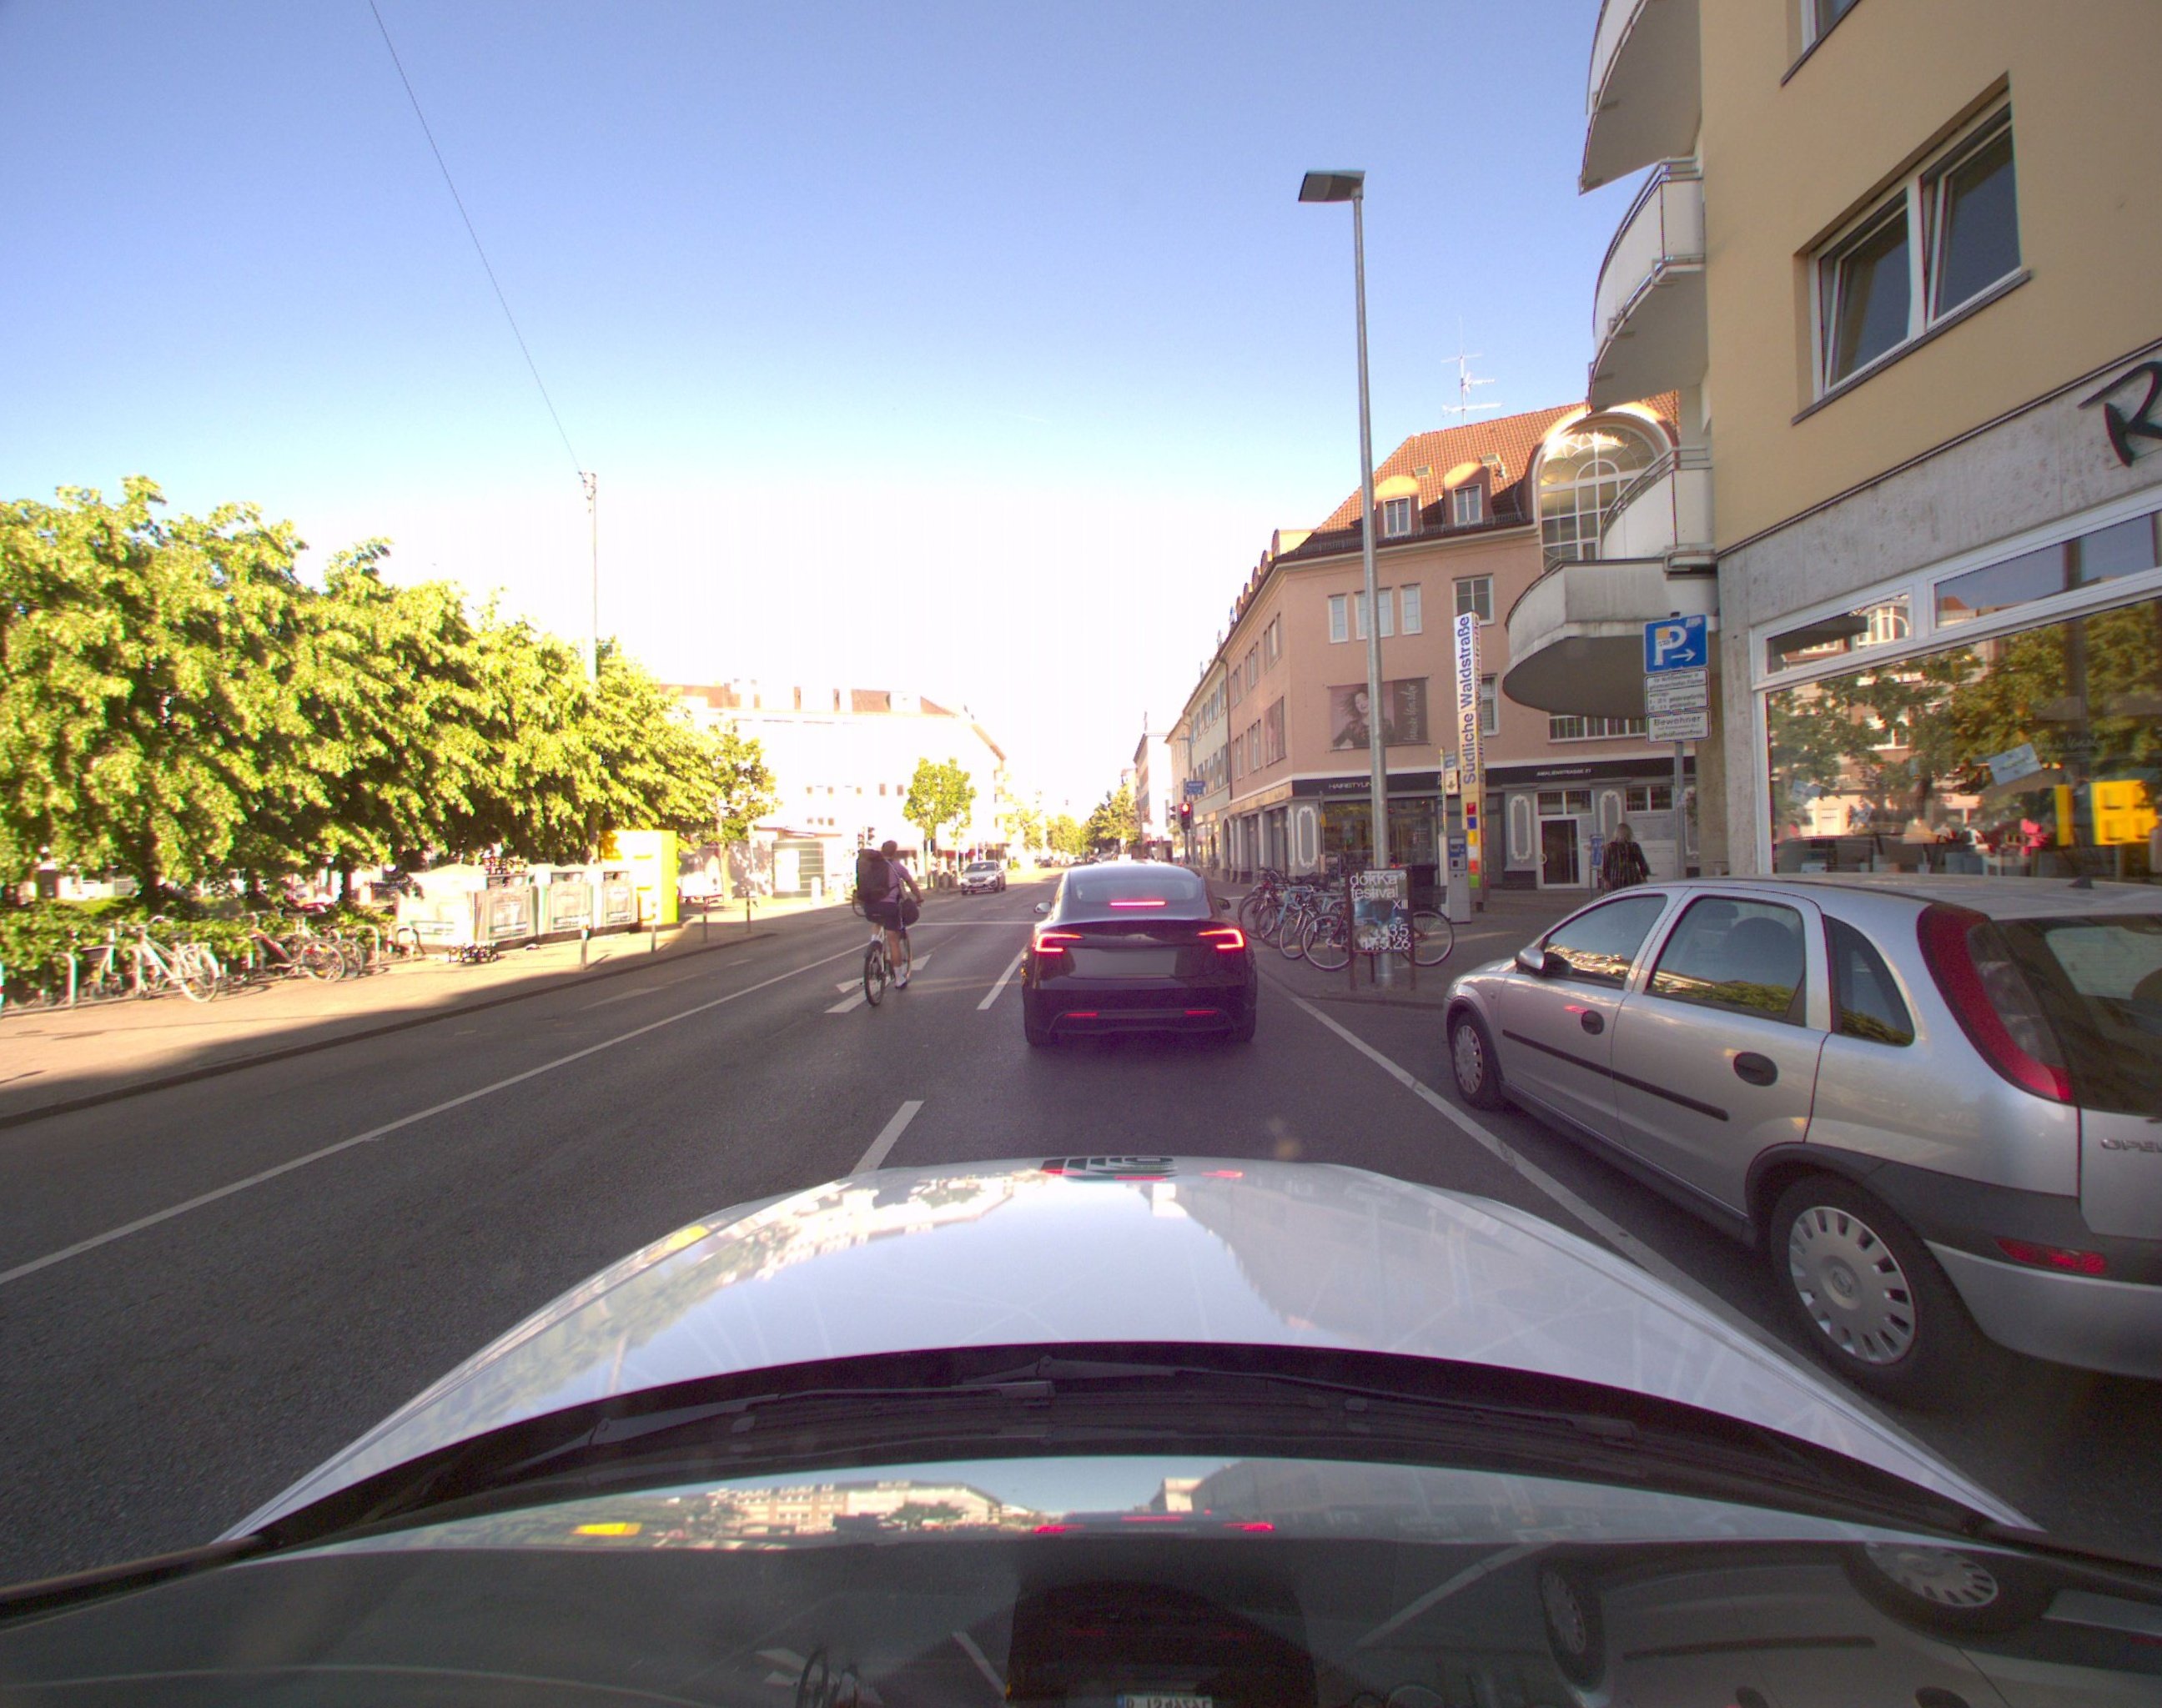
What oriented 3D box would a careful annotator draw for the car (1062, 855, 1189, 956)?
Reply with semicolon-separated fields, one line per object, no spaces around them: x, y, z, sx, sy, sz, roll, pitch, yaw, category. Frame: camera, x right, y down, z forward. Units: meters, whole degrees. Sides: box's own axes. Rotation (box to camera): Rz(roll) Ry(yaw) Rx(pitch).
0.746;0.760;13.897;1.842;1.455;3.788;-1;0;3;car

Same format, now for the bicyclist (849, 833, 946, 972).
-2.008;0.510;9.055;0.793;1.435;1.008;-1;0;1;bicyclist

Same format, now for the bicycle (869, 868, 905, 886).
-12.519;1.455;52.615;2.075;1.104;0.806;-1;0;1;bicycle

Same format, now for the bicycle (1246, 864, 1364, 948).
3.395;0.777;12.412;1.622;1.160;0.433;-3;0;0;bicycle

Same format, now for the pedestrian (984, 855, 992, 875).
-9.835;1.150;86.062;0.623;2.014;0.707;-1;0;1;pedestrian

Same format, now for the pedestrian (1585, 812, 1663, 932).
7.753;0.253;11.633;0.631;1.633;0.656;-3;-1;-39;pedestrian

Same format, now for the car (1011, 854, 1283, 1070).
0.542;0.749;7.512;1.842;1.455;3.788;-1;0;3;car

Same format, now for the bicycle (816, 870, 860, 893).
-12.847;1.452;43.128;2.075;1.104;0.806;-1;0;1;bicycle

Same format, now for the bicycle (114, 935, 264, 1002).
-11.317;1.440;10.339;1.645;0.769;0.476;-1;-1;10;bicycle

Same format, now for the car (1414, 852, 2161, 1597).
2.949;0.708;3.454;1.615;1.394;3.888;-1;0;3;car

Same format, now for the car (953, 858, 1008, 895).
-4.861;1.058;39.928;1.986;1.541;4.002;-5;0;2;car

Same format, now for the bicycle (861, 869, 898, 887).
-12.477;1.484;50.419;2.075;1.104;0.806;-1;0;1;bicycle

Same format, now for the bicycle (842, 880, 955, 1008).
-1.993;0.943;9.165;0.793;1.233;1.774;-1;0;2;bicycle

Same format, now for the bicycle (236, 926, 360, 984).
-11.295;1.453;11.759;1.465;0.769;0.442;-1;-1;6;bicycle

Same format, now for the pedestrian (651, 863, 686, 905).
-16.697;1.216;32.954;0.981;1.636;0.738;-1;0;5;pedestrian

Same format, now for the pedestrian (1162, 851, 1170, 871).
7.216;0.561;69.122;0.568;1.691;0.387;-1;0;1;pedestrian

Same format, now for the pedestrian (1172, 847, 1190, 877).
6.401;0.515;52.154;0.995;1.850;0.615;-1;0;1;pedestrian

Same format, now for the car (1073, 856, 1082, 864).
-0.747;1.198;169.343;1.824;1.724;4.000;-1;0;0;car

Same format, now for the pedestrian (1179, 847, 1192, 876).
6.711;0.480;52.274;0.701;1.783;0.534;-1;0;1;pedestrian

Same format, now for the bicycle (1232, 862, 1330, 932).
3.622;0.767;14.794;1.621;1.160;0.433;-3;0;2;bicycle

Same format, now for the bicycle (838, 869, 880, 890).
-12.430;1.443;45.640;2.075;1.104;0.806;-1;0;1;bicycle

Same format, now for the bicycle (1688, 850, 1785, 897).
14.825;0.447;18.454;1.604;1.045;0.593;-1;-1;14;bicycle

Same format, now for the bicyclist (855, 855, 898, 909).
-6.371;0.861;25.369;1.112;1.654;0.631;-1;0;12;bicyclist

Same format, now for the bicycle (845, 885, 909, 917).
-6.342;1.451;25.347;1.850;0.946;0.631;0;0;12;bicycle

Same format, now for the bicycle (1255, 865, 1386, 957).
3.288;0.773;11.238;1.622;1.160;0.433;-3;0;0;bicycle

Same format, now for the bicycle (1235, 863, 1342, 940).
3.446;0.779;13.569;1.622;1.160;0.433;-3;0;0;bicycle

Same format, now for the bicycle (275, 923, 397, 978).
-11.250;1.459;12.320;1.466;0.769;0.475;-1;-1;4;bicycle

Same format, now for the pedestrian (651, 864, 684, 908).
-16.655;1.293;32.835;0.897;1.725;0.745;-1;0;5;pedestrian

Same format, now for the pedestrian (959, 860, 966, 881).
-9.163;1.246;62.925;0.385;1.591;0.705;-1;0;-3;pedestrian

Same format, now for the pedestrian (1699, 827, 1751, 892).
14.630;0.123;18.516;0.737;1.440;0.585;-1;-1;15;pedestrian
